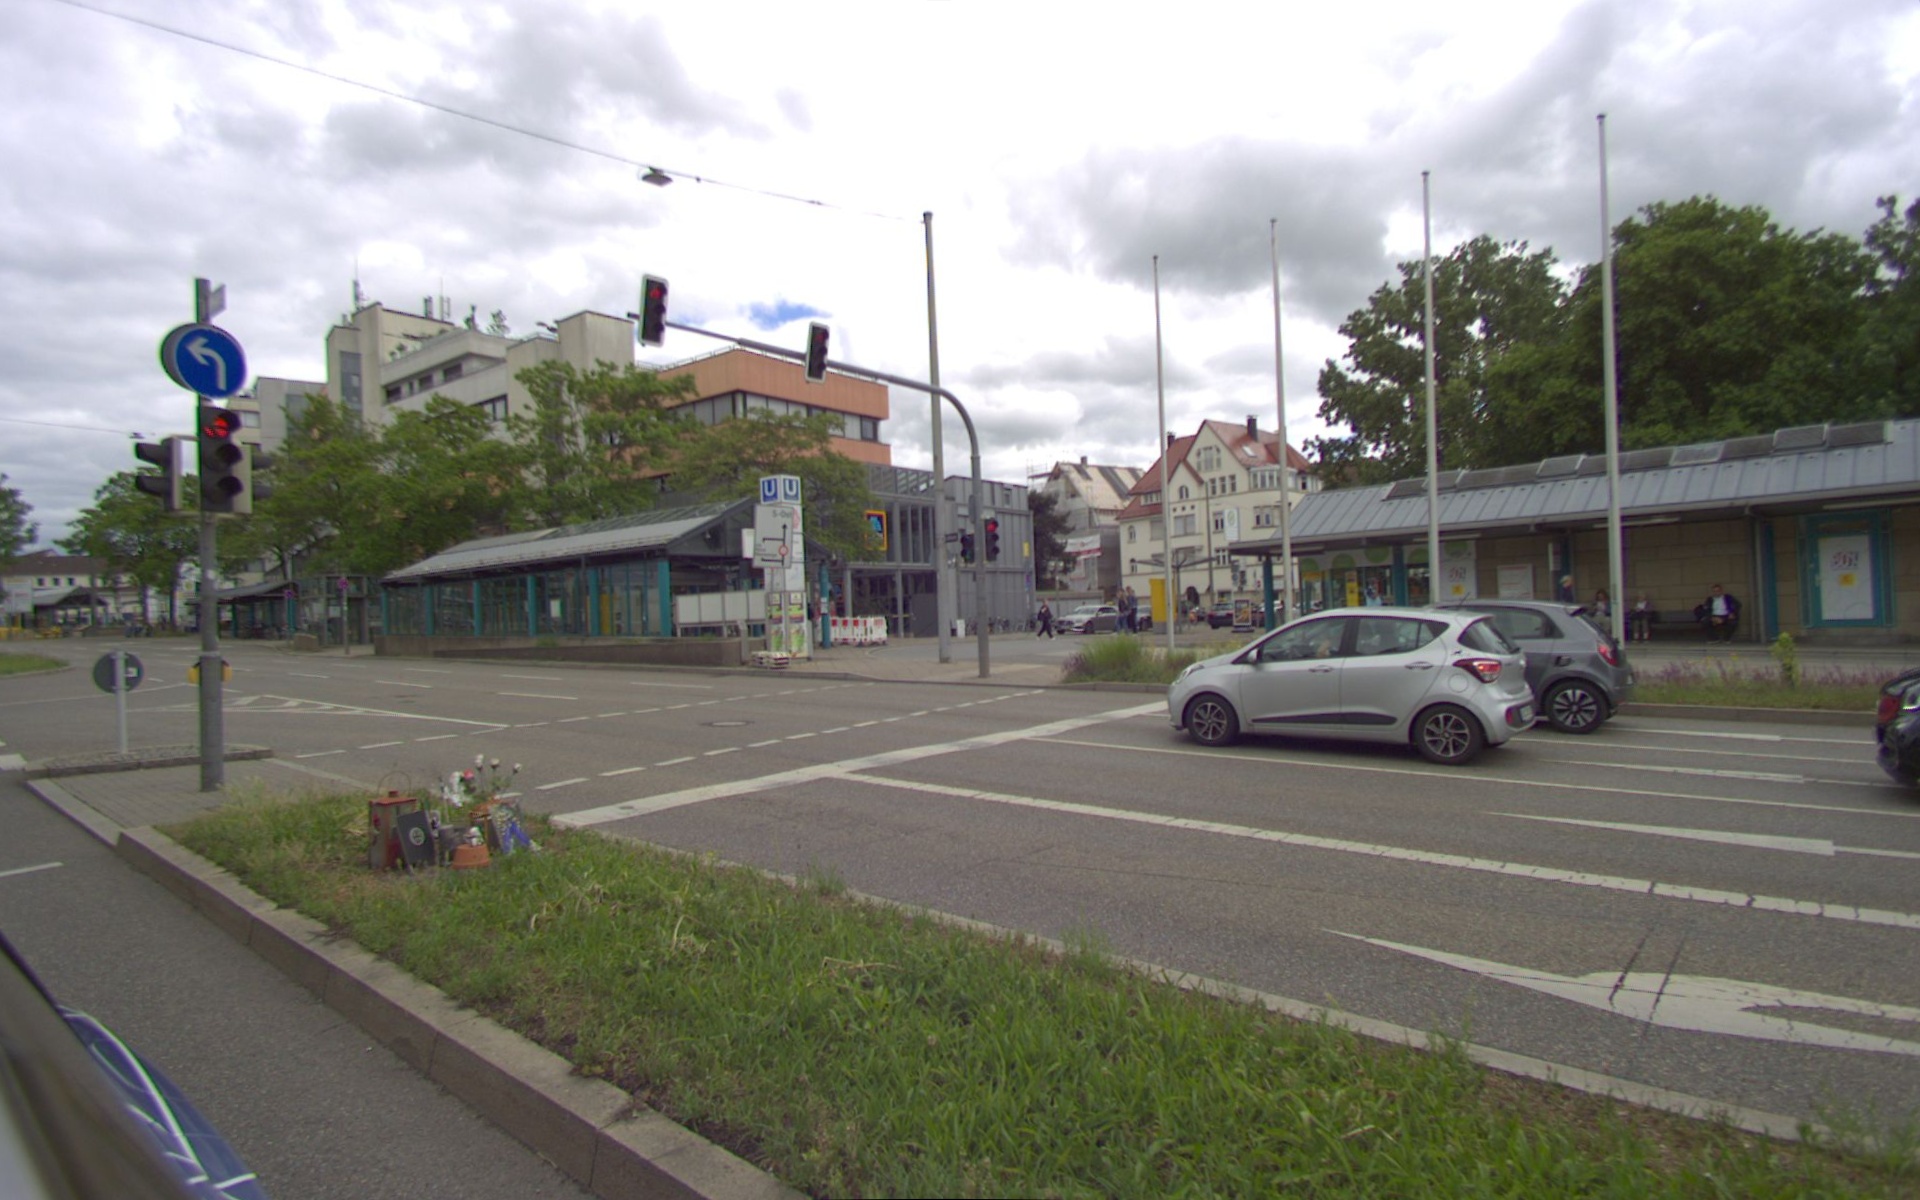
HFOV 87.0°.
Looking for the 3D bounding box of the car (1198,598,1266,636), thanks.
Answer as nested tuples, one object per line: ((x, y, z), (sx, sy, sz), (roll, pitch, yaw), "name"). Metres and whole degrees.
((13.845, 0.852, 51.405), (1.996, 1.696, 3.952), (-2, 1, 36), "car")

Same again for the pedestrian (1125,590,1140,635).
((6.027, 0.444, 35.361), (0.378, 1.559, 0.485), (-2, 0, -3), "pedestrian")

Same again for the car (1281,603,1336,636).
((20.697, 1.143, 60.012), (1.996, 1.696, 3.952), (-2, 1, 36), "car")

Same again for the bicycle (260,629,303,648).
((-42.982, 2.423, 64.152), (0.541, 1.098, 2.180), (-1, 1, 36), "bicycle")

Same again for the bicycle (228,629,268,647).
((-47.168, 2.508, 67.076), (0.542, 1.098, 2.043), (-1, 1, 41), "bicycle")

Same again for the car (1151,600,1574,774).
((4.117, 0.778, 10.635), (3.786, 1.476, 1.728), (-1, 0, 40), "car")

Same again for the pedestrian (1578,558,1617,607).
((15.161, -0.406, 24.069), (0.658, 1.129, 0.613), (-2, -1, 43), "pedestrian")

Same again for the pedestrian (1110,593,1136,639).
((5.596, 0.545, 34.760), (0.742, 1.559, 0.531), (-2, 0, -3), "pedestrian")

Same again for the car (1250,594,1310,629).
((17.683, 0.601, 55.803), (1.996, 1.696, 3.952), (-2, 1, 36), "car")

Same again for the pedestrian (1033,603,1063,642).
((3.431, 0.885, 39.547), (0.992, 1.472, 0.583), (-2, 0, 42), "pedestrian")

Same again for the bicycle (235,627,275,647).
((-46.383, 2.439, 66.579), (0.542, 1.147, 2.043), (-1, 1, 41), "bicycle")

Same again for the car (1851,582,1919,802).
((8.380, 0.598, 6.587), (3.765, 1.519, 1.642), (-1, -1, 39), "car")

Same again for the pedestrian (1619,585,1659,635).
((15.664, 0.233, 23.344), (0.658, 1.129, 0.613), (-2, -1, 43), "pedestrian")

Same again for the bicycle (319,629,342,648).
((-35.084, 2.146, 56.400), (2.050, 1.034, 0.514), (-2, 1, 43), "bicycle")

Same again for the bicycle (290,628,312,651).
((-35.970, 2.160, 55.198), (1.949, 1.234, 0.514), (-2, 1, 43), "bicycle")

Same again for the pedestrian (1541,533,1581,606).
((14.032, -0.708, 23.640), (0.658, 1.662, 0.613), (-2, -1, 43), "pedestrian")

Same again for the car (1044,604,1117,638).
((6.173, 1.068, 51.652), (1.997, 1.608, 3.951), (-2, 0, 37), "car")

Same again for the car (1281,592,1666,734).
((6.376, 0.703, 12.840), (4.000, 1.519, 1.795), (-1, -1, 43), "car")

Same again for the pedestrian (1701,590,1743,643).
((16.691, 0.359, 22.167), (0.658, 1.129, 0.613), (-2, -1, 43), "pedestrian")

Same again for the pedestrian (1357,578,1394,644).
((10.620, 0.275, 25.865), (0.658, 1.662, 0.613), (-2, -1, 43), "pedestrian")

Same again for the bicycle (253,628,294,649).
((-43.727, 2.441, 64.457), (0.541, 1.147, 2.046), (-1, 1, 36), "bicycle")

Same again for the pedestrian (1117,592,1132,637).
((5.825, 0.508, 35.919), (0.378, 1.559, 0.485), (-2, 0, -3), "pedestrian")

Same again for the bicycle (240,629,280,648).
((-45.516, 2.469, 65.836), (0.542, 1.098, 2.043), (-1, 1, 41), "bicycle")
